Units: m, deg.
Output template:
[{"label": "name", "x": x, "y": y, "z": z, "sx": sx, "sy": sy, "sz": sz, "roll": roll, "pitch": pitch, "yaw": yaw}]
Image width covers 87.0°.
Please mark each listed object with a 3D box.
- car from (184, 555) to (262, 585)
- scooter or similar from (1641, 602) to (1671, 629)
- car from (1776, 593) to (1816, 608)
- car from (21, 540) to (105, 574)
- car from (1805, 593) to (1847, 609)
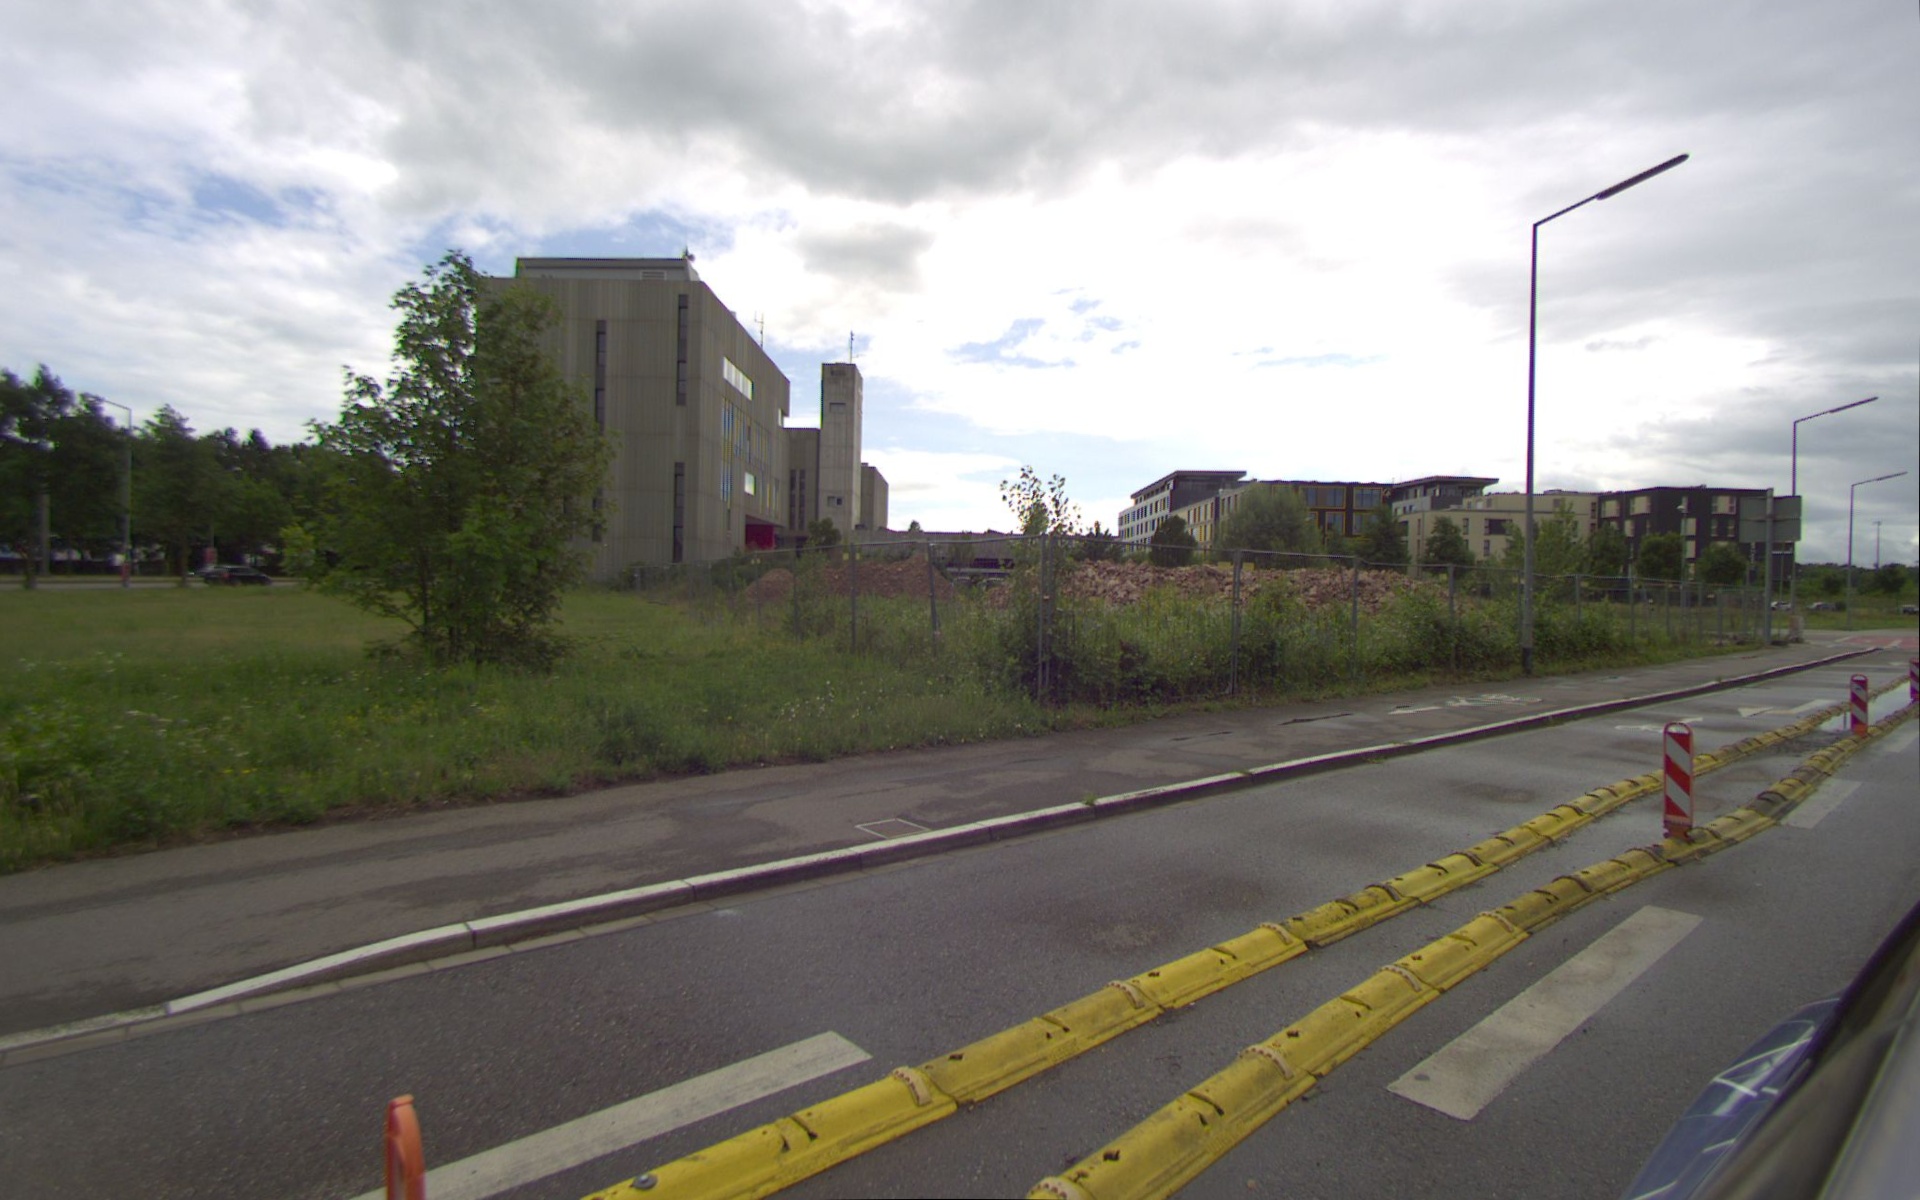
[{"label": "car", "x": -47.503, "y": -1.920, "z": 65.368, "sx": 2.038, "sy": 1.836, "sz": 4.210, "roll": 1, "pitch": 1, "yaw": -2}, {"label": "scooter or similar", "x": 32.766, "y": 0.727, "z": 47.623, "sx": 0.437, "sy": 1.200, "sz": 1.327, "roll": 1, "pitch": 1, "yaw": -1}, {"label": "car", "x": 119.458, "y": 0.051, "z": 144.600, "sx": 3.924, "sy": 2.039, "sz": 2.000, "roll": 2, "pitch": 1, "yaw": 0}, {"label": "car", "x": -57.909, "y": -2.766, "z": 65.434, "sx": 1.962, "sy": 2.039, "sz": 4.001, "roll": 1, "pitch": 1, "yaw": -1}, {"label": "car", "x": 118.018, "y": 0.146, "z": 137.960, "sx": 3.924, "sy": 2.039, "sz": 2.000, "roll": 2, "pitch": 1, "yaw": 0}]
